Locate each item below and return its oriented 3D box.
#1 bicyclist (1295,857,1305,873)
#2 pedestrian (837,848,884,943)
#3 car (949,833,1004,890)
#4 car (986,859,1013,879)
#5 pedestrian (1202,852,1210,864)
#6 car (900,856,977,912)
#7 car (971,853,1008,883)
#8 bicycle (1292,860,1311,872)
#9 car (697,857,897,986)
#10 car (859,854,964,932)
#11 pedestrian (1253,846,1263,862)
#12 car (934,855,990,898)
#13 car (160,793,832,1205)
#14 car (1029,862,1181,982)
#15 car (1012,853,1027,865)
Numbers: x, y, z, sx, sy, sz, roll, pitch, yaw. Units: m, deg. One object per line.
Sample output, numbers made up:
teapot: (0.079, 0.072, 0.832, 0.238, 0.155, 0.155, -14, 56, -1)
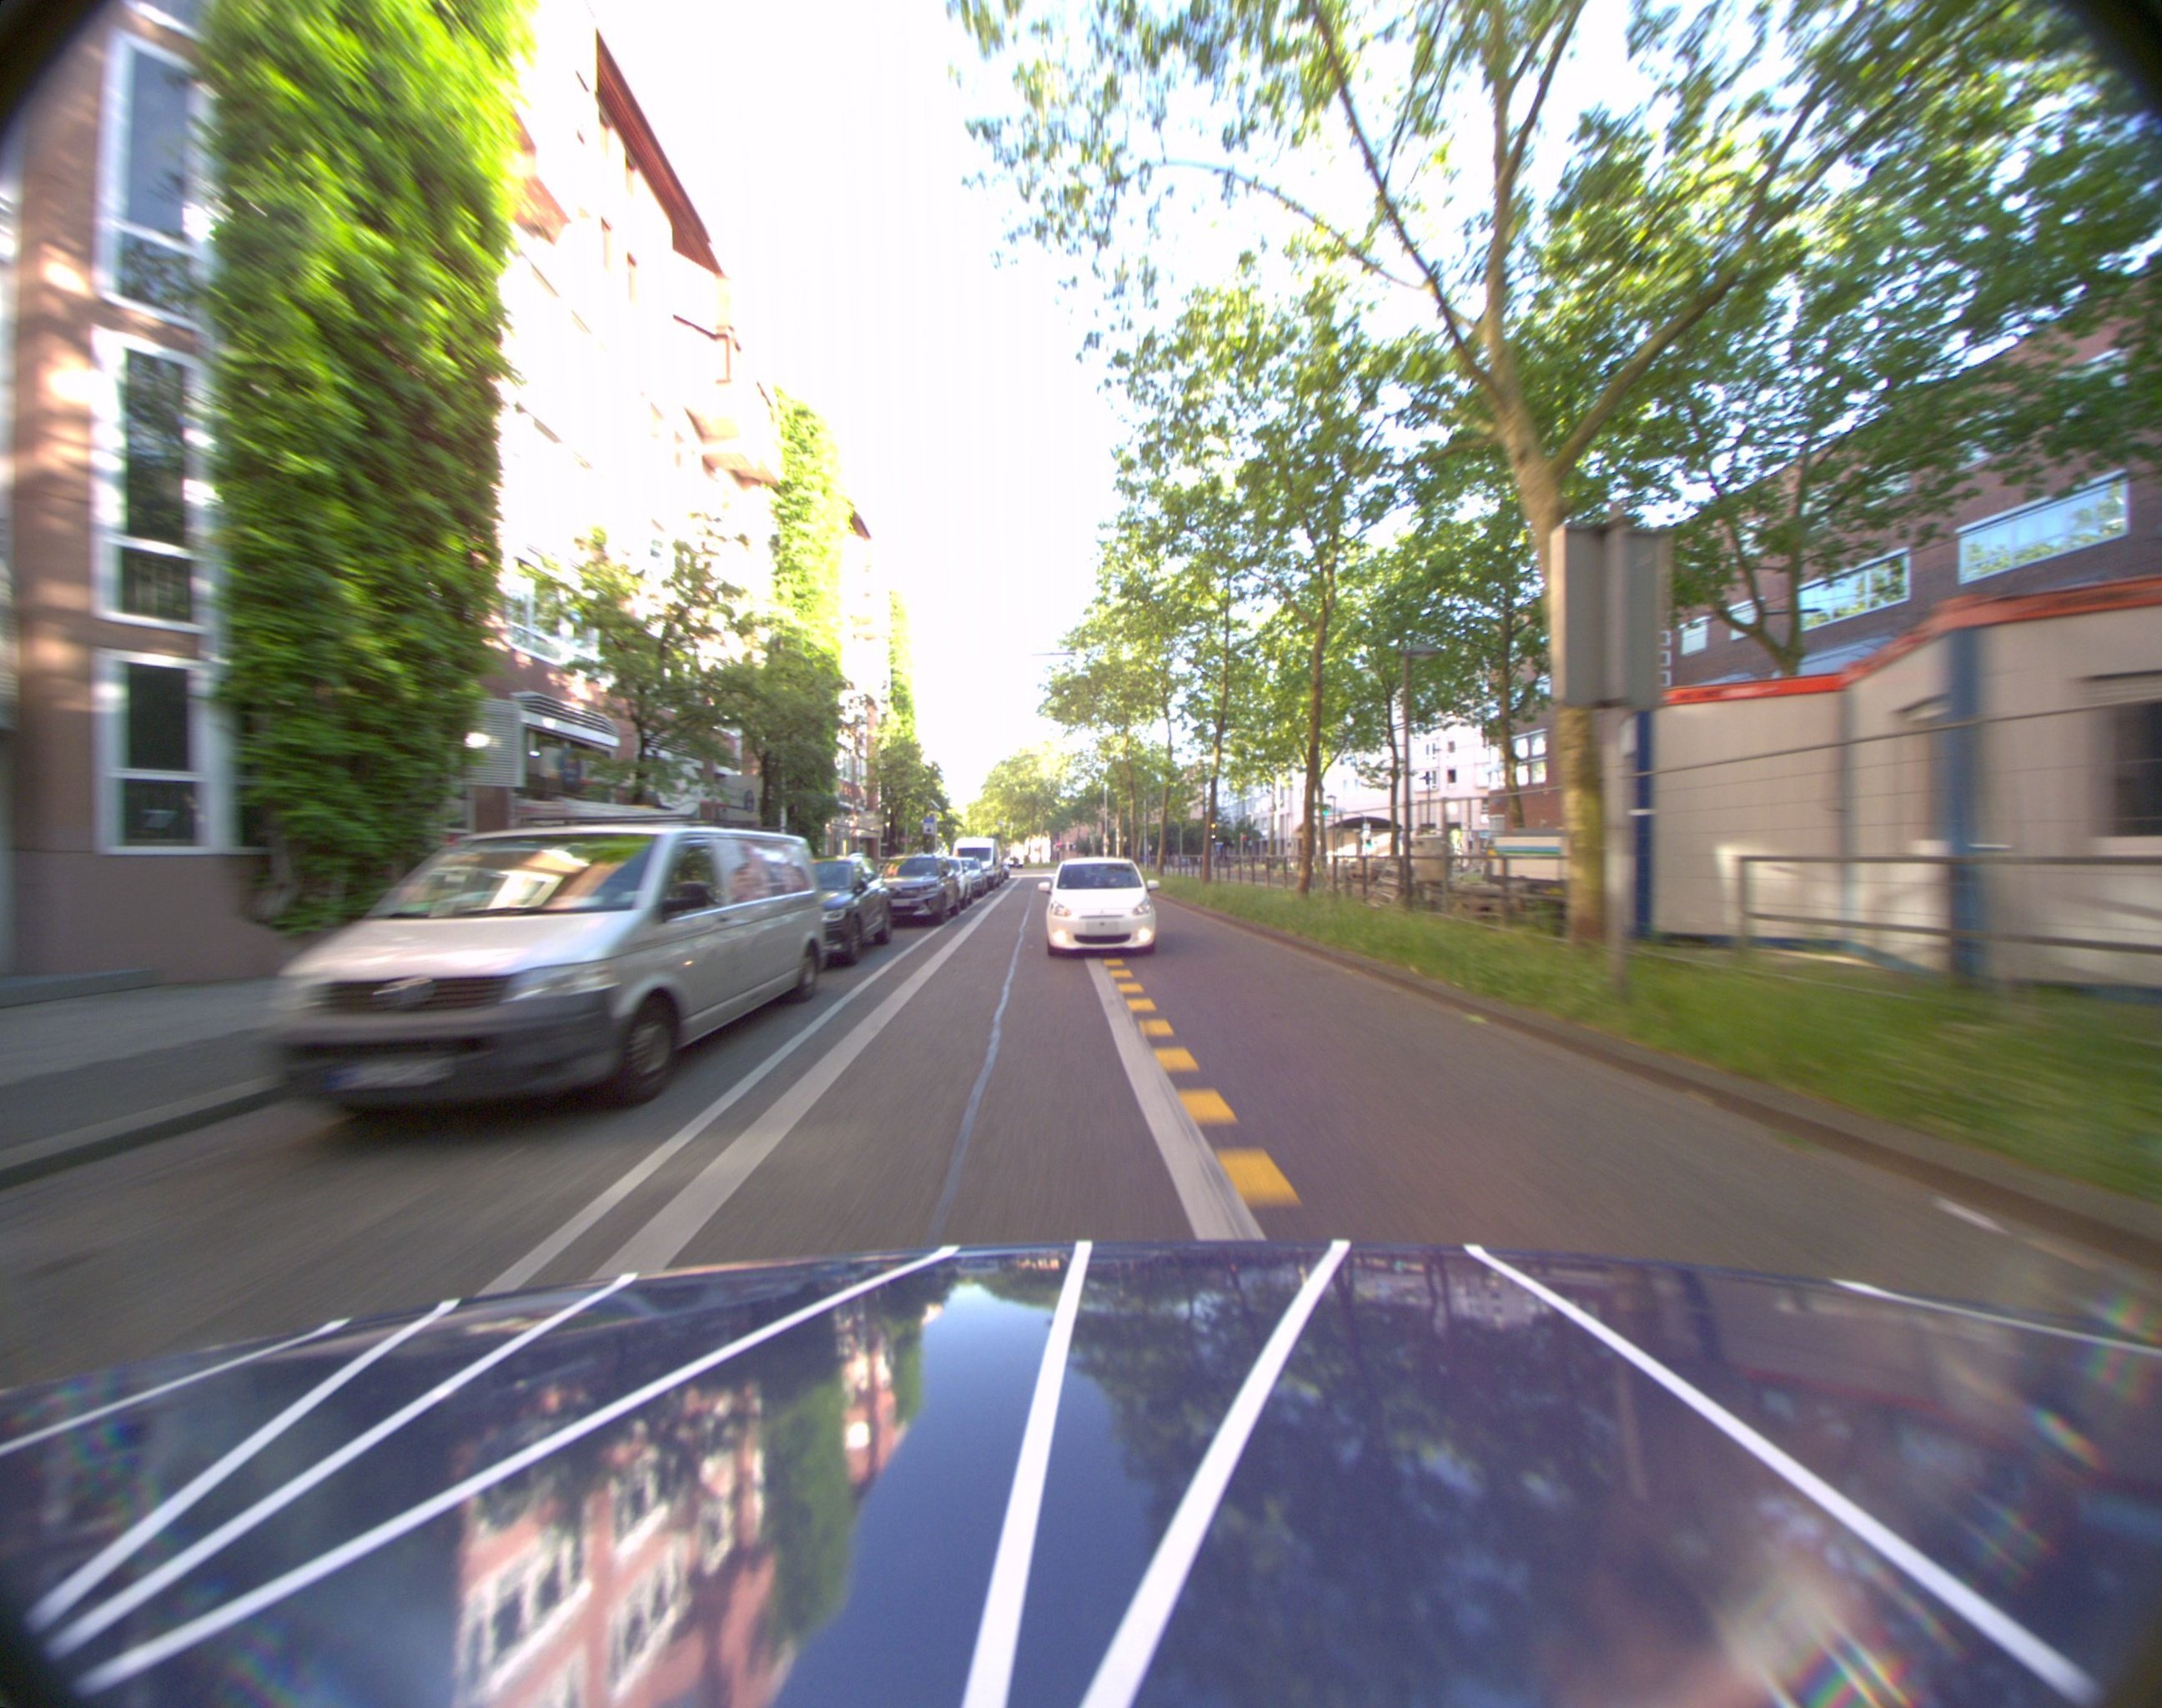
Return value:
bicyclist: (23.120, 1.191, 80.047, 0.720, 1.639, 0.667, -2, 1, -33)
pedestrian: (-4.302, 0.791, 14.816, 0.717, 1.802, 0.661, 0, 1, -31)
car: (-4.937, 0.323, 36.699, 2.121, 2.550, 5.903, 0, 0, -3)
car: (-5.708, 1.027, 52.987, 1.809, 1.322, 3.989, 0, 0, -6)
pedestrian: (17.406, 0.515, 105.866, 1.006, 1.592, 0.876, -2, 1, 2)
car: (-4.311, 0.843, 23.511, 1.833, 1.570, 3.999, 0, 0, -3)
car: (-5.182, 0.784, 43.344, 1.809, 1.617, 4.474, 0, 0, -4)
bicycle: (23.190, 1.261, 80.028, 0.775, 1.254, 1.814, -2, 1, -34)
car: (-4.210, 0.882, 12.028, 1.792, 1.660, 4.198, 0, 0, -3)
car: (-3.970, 0.832, 18.460, 1.792, 1.660, 4.438, 0, 0, -3)
pedestrian: (22.722, -0.005, 97.720, 1.006, 2.002, 0.876, -2, 1, 0)
car: (-4.638, 0.844, 30.116, 1.833, 1.570, 3.999, 0, 0, -3)
car: (-3.794, 0.729, 6.451, 1.924, 2.066, 5.168, 0, 0, -3)
car: (0.177, 0.889, 11.905, 1.809, 1.492, 4.198, 0, 0, -6)
car: (-8.437, 0.724, 104.696, 1.999, 1.524, 3.998, -2, 1, -3)
